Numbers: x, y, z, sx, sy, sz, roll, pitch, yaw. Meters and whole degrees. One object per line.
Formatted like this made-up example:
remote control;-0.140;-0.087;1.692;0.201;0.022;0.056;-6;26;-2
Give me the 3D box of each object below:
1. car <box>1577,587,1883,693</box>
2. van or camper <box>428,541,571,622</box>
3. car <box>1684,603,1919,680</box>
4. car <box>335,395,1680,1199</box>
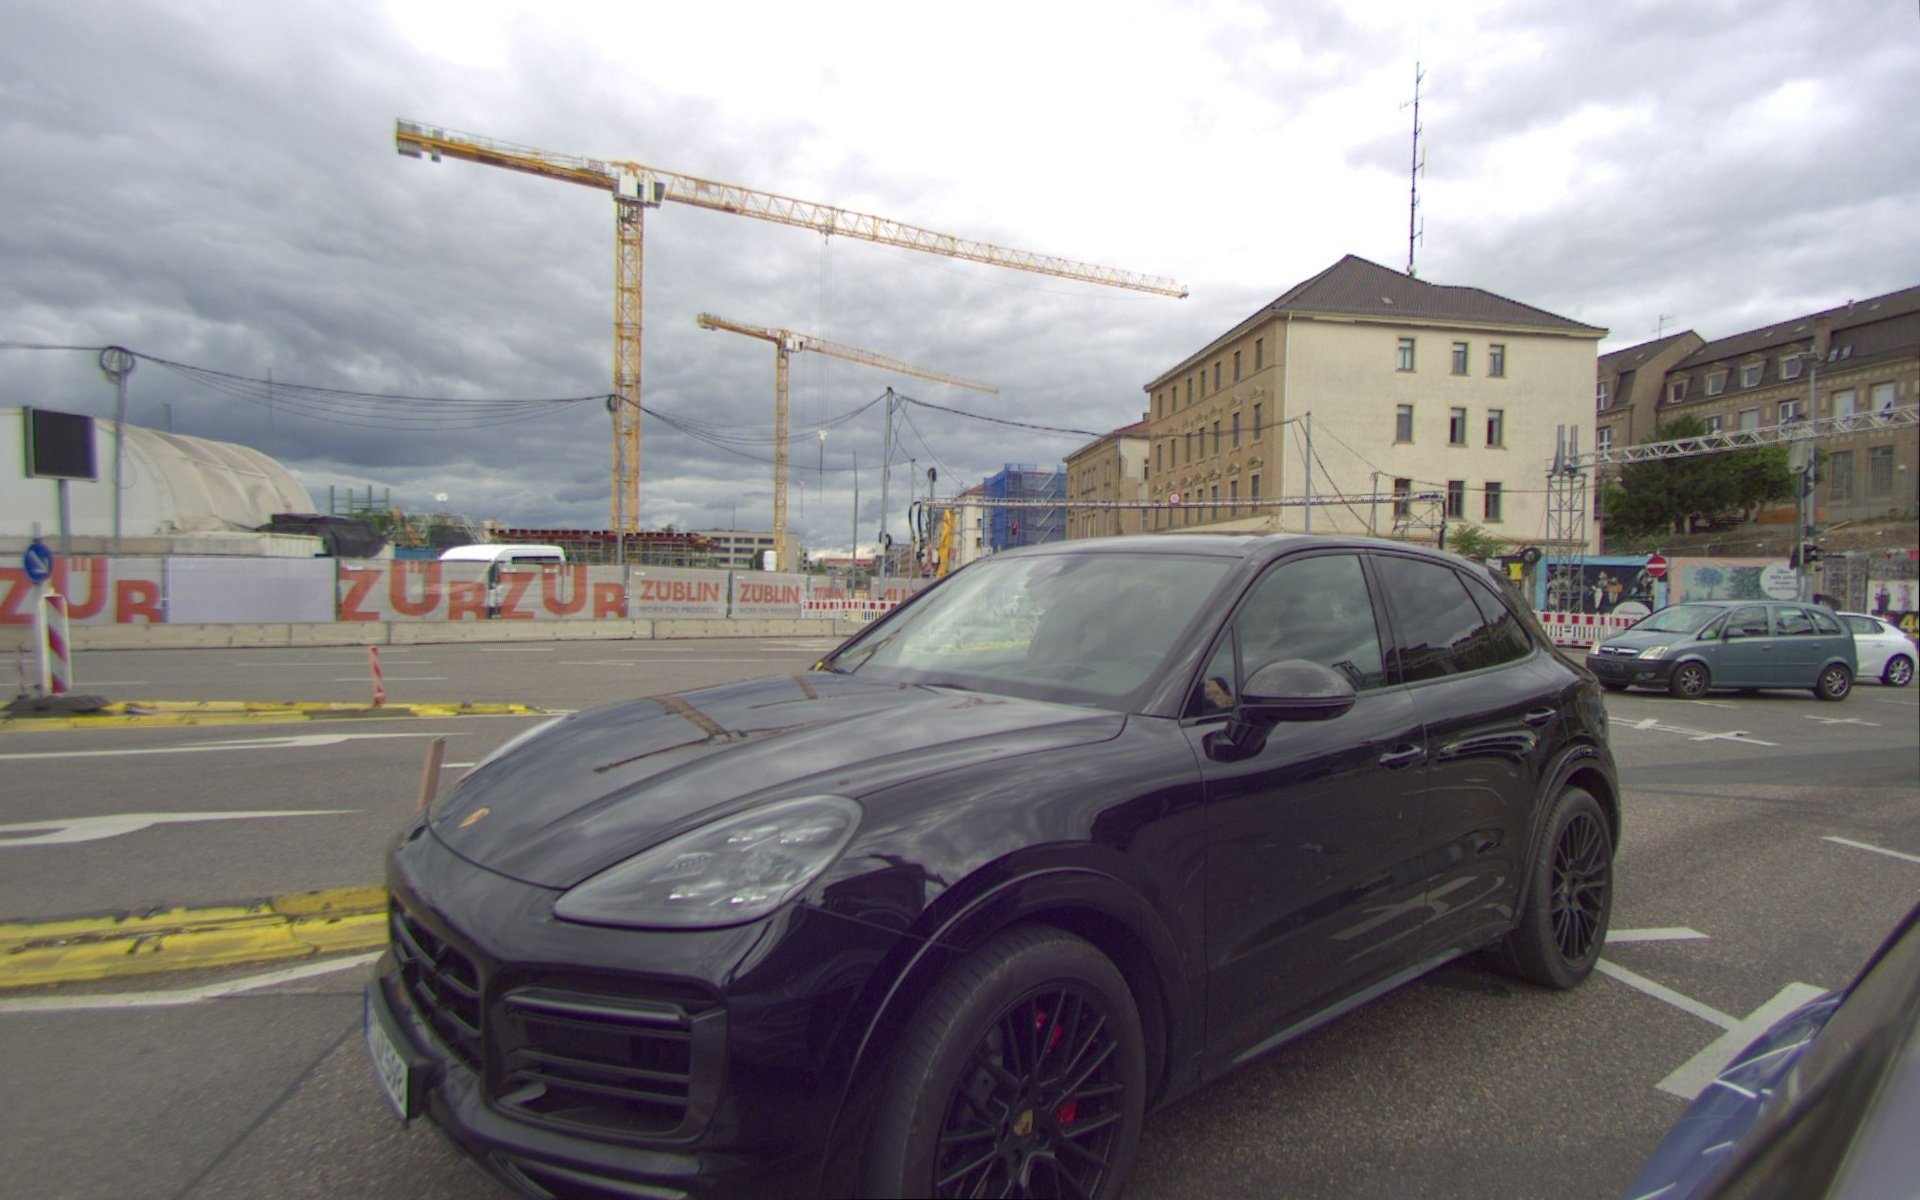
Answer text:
car;12.525;0.598;16.588;3.875;1.593;1.695;0;1;-6
van or camper;-13.662;-0.601;30.326;1.969;2.254;3.988;1;2;11
car;17.013;0.801;20.227;4.004;1.434;1.694;0;0;-7
car;0.605;0.539;3.514;4.525;1.668;1.955;0;1;-39
